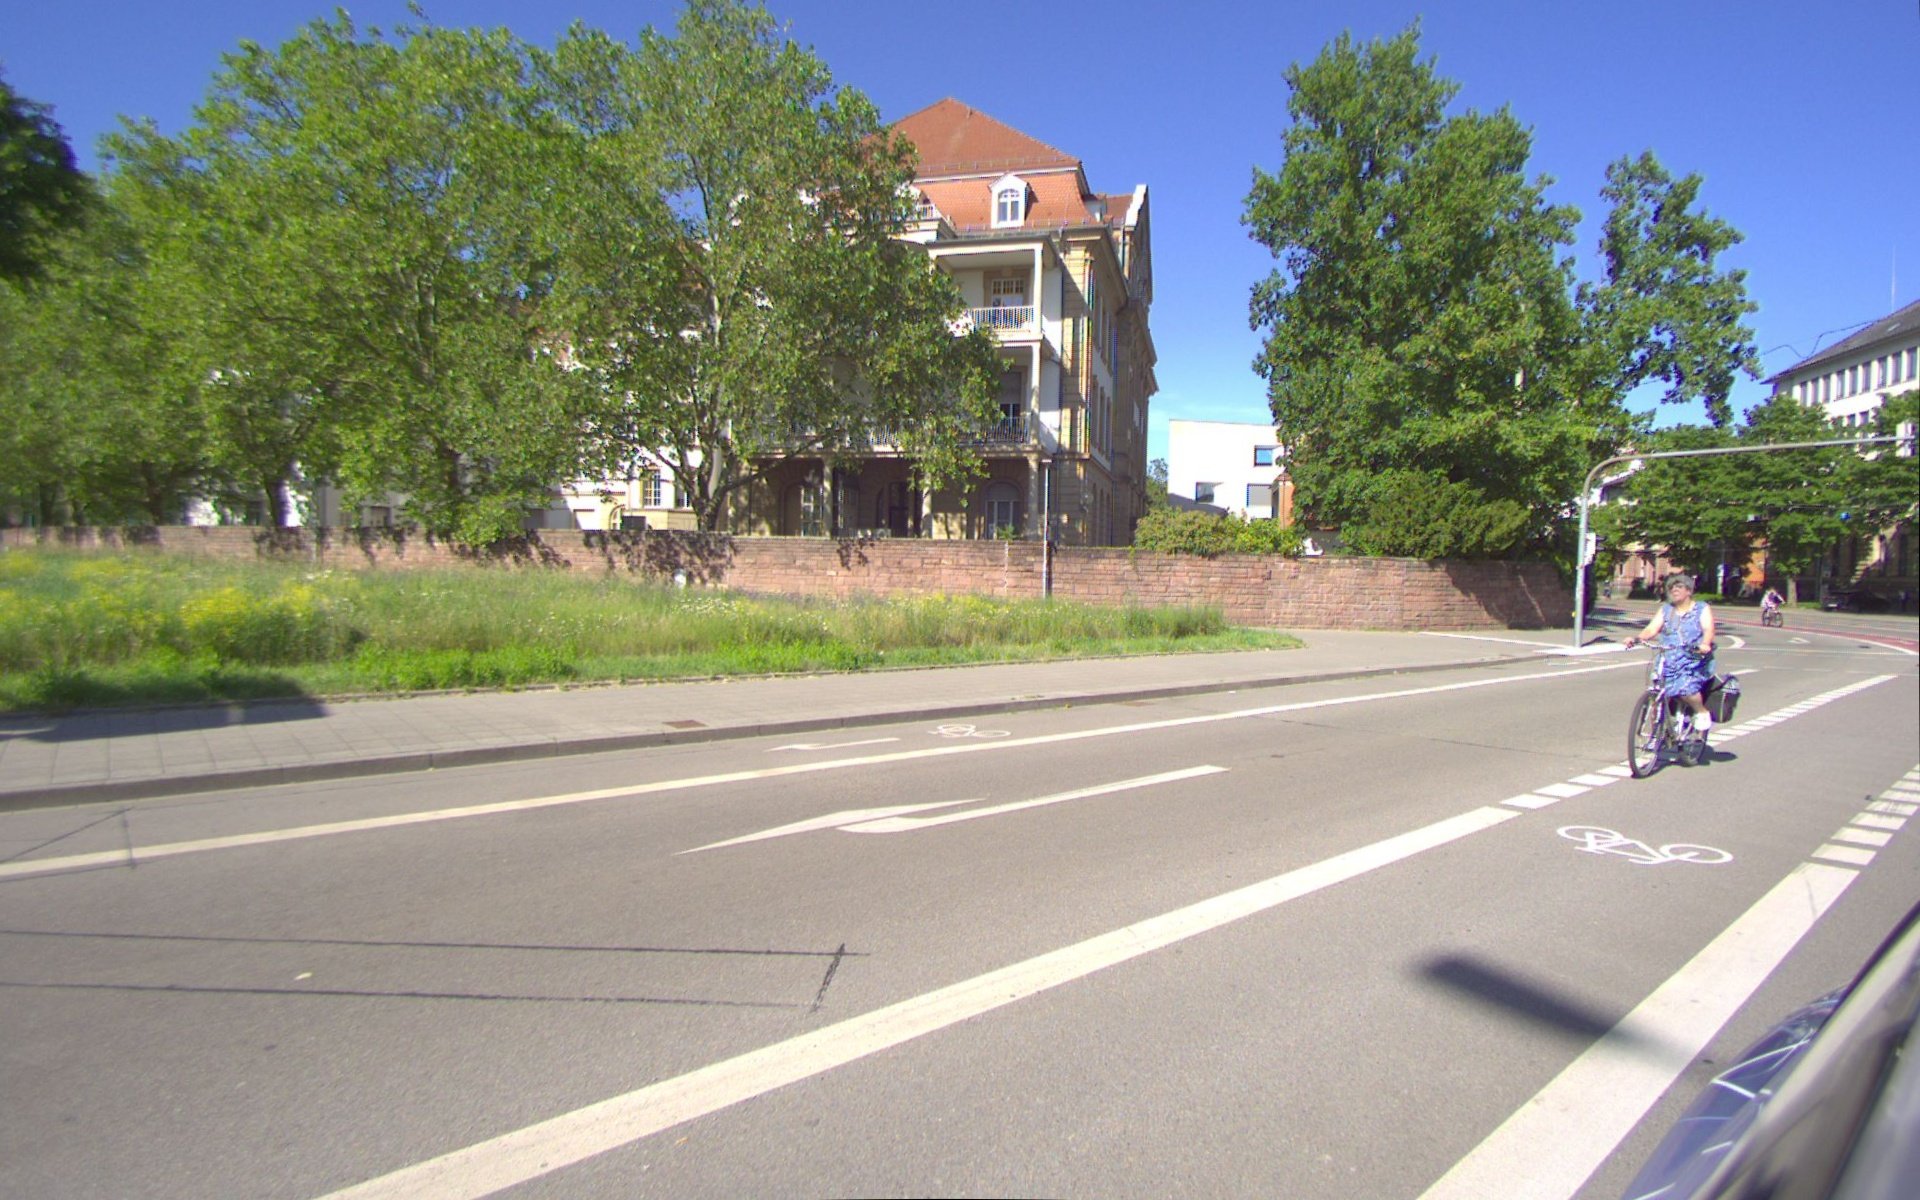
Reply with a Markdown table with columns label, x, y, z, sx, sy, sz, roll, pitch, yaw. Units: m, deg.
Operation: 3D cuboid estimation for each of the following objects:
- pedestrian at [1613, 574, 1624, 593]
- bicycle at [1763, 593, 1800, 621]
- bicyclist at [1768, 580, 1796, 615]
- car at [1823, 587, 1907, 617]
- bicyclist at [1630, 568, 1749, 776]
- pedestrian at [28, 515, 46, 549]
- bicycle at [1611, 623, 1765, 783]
| label | x | y | z | sx | sy | sz | roll | pitch | yaw |
| --- | --- | --- | --- | --- | --- | --- | --- | --- | --- |
| pedestrian | 59.044 | -1.465 | 90.764 | 0.629 | 1.631 | 0.840 | 0 | 0 | 21 |
| bicycle | 37.424 | 0.300 | 46.129 | 0.770 | 1.179 | 1.952 | 1 | 1 | 24 |
| bicyclist | 37.420 | -0.132 | 46.084 | 0.771 | 1.571 | 0.912 | 1 | 1 | 24 |
| car | 60.927 | 0.119 | 68.158 | 3.731 | 1.838 | 1.999 | 1 | 2 | 3 |
| bicyclist | 6.250 | 0.569 | 8.667 | 0.763 | 1.683 | 0.642 | -1 | 2 | -41 |
| pedestrian | -45.514 | -3.342 | 49.928 | 0.642 | 1.631 | 0.557 | 0 | 0 | -42 |
| bicycle | 6.301 | 0.818 | 8.720 | 1.933 | 1.179 | 0.642 | 0 | 1 | -41 |
